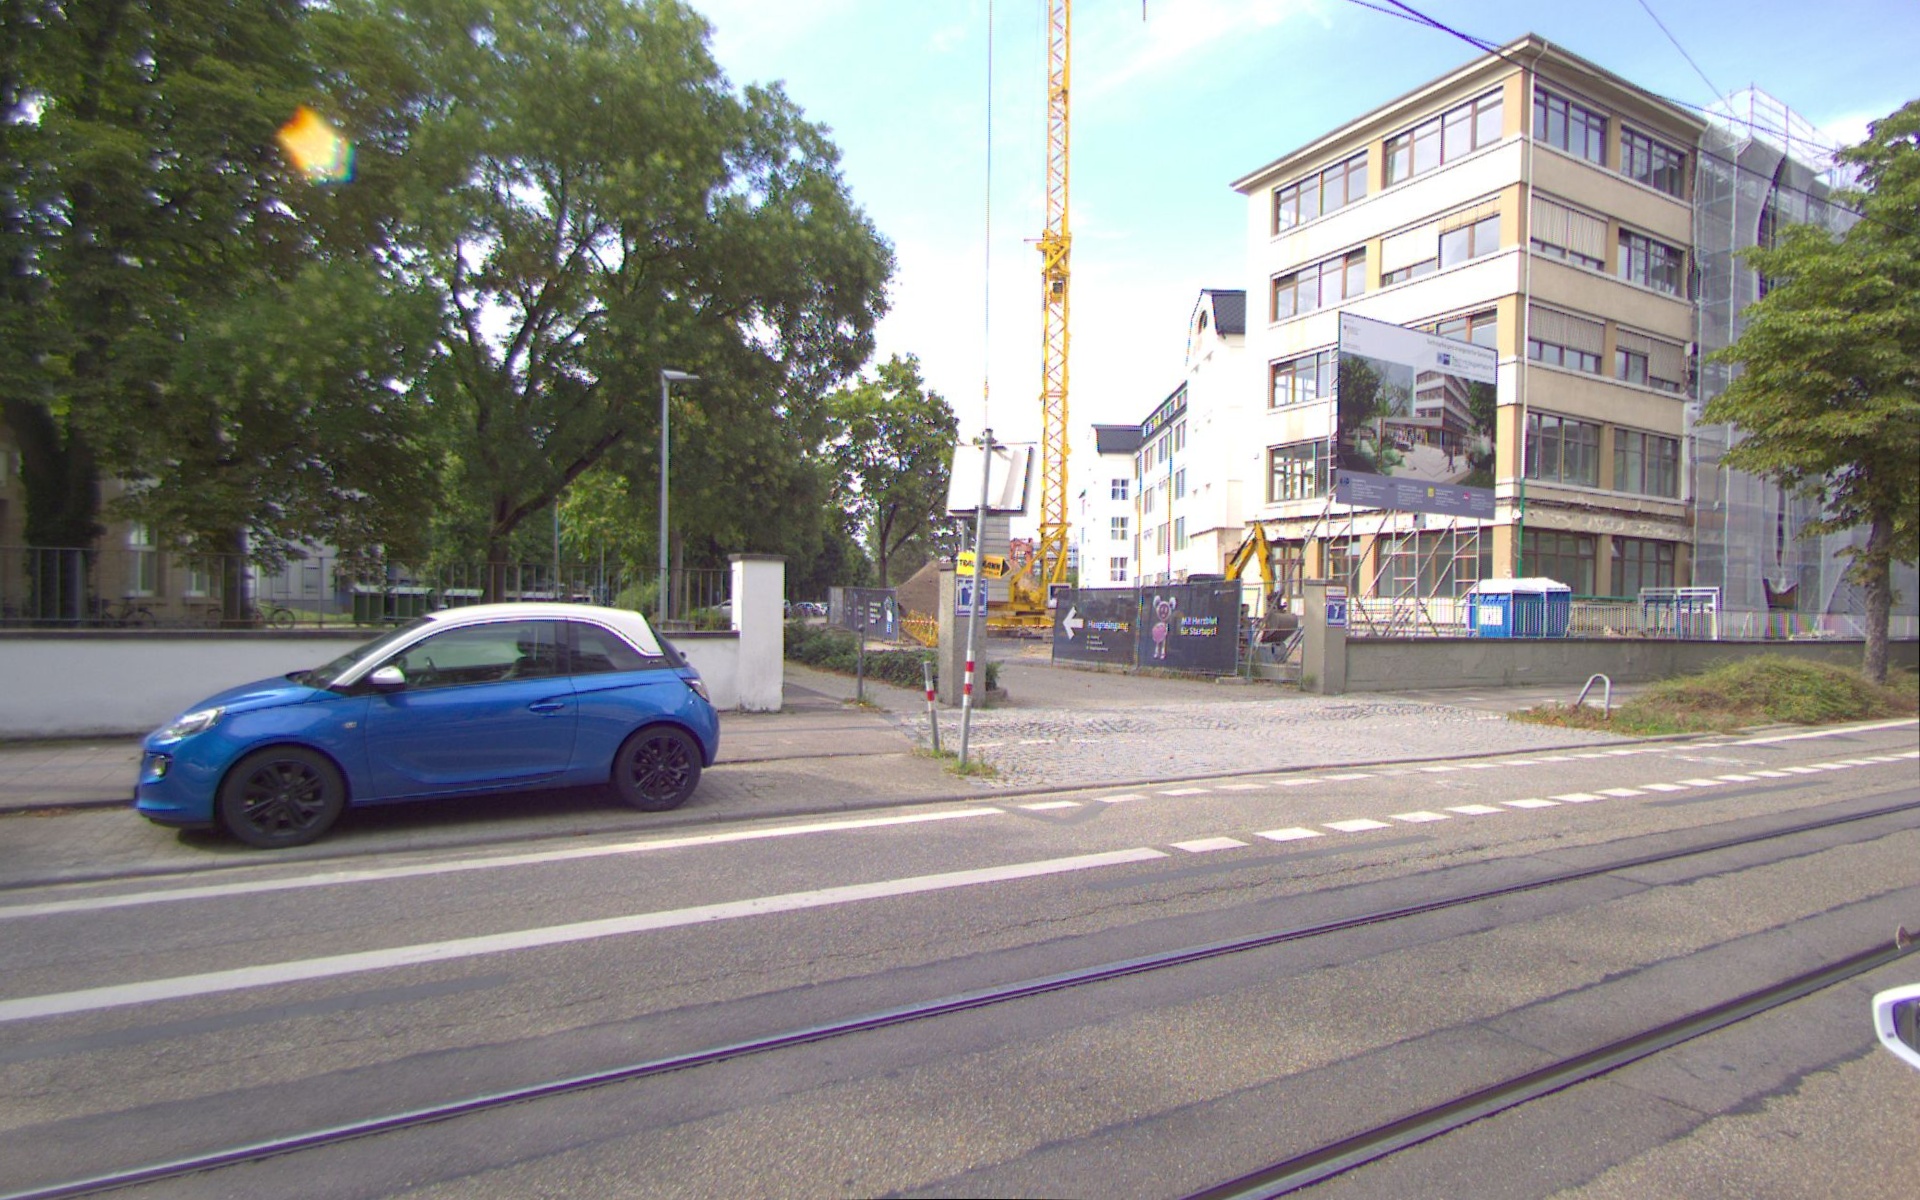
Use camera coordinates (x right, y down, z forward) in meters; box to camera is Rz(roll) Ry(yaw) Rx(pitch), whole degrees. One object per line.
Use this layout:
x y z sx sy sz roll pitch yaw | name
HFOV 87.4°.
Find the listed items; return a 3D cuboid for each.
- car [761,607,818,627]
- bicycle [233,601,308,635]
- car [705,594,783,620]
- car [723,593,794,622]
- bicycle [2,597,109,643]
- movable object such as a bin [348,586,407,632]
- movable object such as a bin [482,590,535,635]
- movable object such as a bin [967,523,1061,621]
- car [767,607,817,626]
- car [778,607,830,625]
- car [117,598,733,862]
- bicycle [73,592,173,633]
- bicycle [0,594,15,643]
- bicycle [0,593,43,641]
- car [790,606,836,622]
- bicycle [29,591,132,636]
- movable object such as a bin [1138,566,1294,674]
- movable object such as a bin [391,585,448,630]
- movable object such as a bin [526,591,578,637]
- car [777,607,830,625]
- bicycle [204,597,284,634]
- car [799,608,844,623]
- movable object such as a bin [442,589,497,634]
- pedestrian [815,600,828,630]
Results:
-14.537 1.447 85.989 4.719 1.508 1.997 2 0 -8 | car
-22.201 0.573 32.352 1.940 1.057 0.594 1 1 -4 | bicycle
-13.829 0.458 64.599 4.719 1.508 1.997 2 0 -8 | car
-15.180 0.576 75.890 4.965 1.979 1.999 2 0 -4 | car
-21.860 0.485 24.298 1.940 1.057 0.594 1 1 -4 | bicycle
-19.375 0.302 33.443 1.259 1.449 1.122 2 0 -2 | movable object such as a bin
-15.101 0.432 33.633 1.259 1.449 1.122 2 0 -2 | movable object such as a bin
4.255 -1.866 75.036 3.781 6.758 10.988 2 0 20 | movable object such as a bin
-14.783 1.477 88.654 4.268 1.564 1.751 2 0 -8 | car
-14.693 1.500 94.801 4.719 1.508 1.997 2 0 -8 | car
-3.637 0.766 7.305 3.560 1.484 1.620 1 0 -30 | car
-22.347 0.337 26.861 1.953 1.057 0.590 1 1 -28 | bicycle
-21.834 0.375 21.816 1.940 1.057 0.594 1 1 -4 | bicycle
-21.917 0.361 22.596 1.940 1.057 0.594 1 1 -4 | bicycle
-15.503 1.479 105.874 4.719 1.508 1.997 2 0 -8 | car
-21.946 0.338 25.078 1.940 1.057 0.594 1 1 -4 | bicycle
6.281 0.486 24.988 2.459 2.475 3.048 2 0 -19 | movable object such as a bin
-18.013 0.252 33.507 1.259 1.449 1.122 2 0 -2 | movable object such as a bin
-13.584 0.466 33.468 1.259 1.449 1.122 2 0 -2 | movable object such as a bin
-14.310 1.484 91.975 4.719 1.508 1.997 2 0 -8 | car
-22.081 0.475 30.997 1.940 1.057 0.594 1 1 -4 | bicycle
-15.025 1.649 108.885 4.719 1.508 1.997 2 0 -8 | car
-16.440 0.392 33.706 1.259 1.449 1.122 2 0 -2 | movable object such as a bin
-8.407 0.910 60.973 0.736 1.813 0.730 1 0 -7 | pedestrian
